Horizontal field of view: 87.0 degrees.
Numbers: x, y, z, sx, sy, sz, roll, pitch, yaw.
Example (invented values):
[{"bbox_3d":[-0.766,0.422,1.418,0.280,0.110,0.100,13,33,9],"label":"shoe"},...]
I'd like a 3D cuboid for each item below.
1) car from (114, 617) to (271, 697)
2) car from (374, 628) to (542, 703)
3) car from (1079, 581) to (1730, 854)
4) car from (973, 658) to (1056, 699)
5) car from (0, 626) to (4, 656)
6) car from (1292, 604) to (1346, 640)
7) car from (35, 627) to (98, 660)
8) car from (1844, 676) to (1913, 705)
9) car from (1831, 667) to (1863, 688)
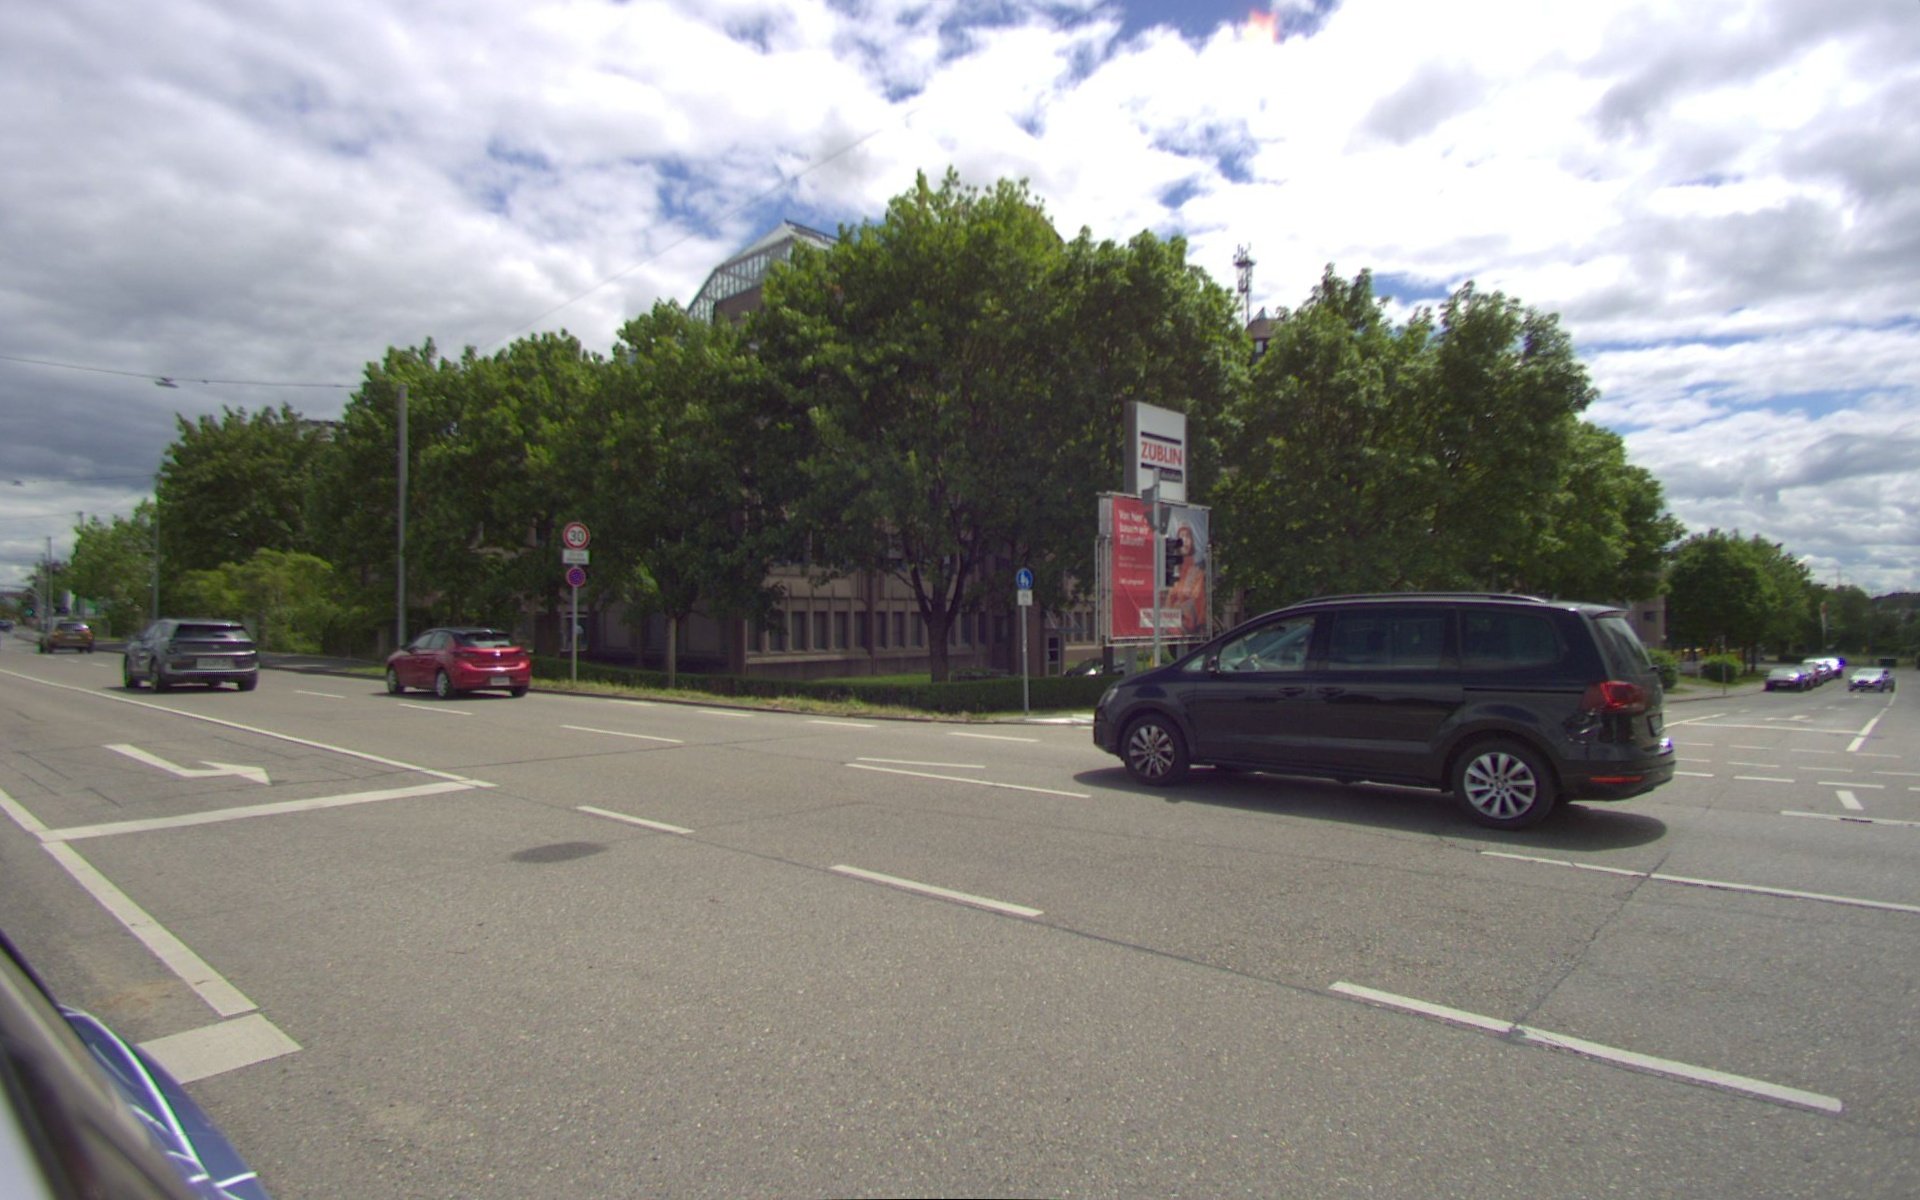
[{"bbox_3d":[-17.385,1.217,22.865,4.303,1.630,1.973,-1,-2,41],"label":"car"},{"bbox_3d":[-10.669,1.317,21.403,3.997,1.426,1.762,-1,-2,41],"label":"car"},{"bbox_3d":[3.533,0.786,8.730,4.761,1.715,1.971,-1,-2,43],"label":"car"},{"bbox_3d":[1.926,2.704,35.328,1.531,1.214,3.138,-1,-1,34],"label":"car"},{"bbox_3d":[-50.094,2.055,51.433,3.997,1.465,1.777,-1,-3,41],"label":"car"},{"bbox_3d":[23.239,1.368,65.419,1.999,2.259,3.945,-1,-1,41],"label":"car"},{"bbox_3d":[-45.374,2.163,51.376,3.998,1.609,1.873,-1,-2,41],"label":"car"},{"bbox_3d":[56.665,5.557,62.434,3.931,1.519,2.006,0,-1,-30],"label":"car"},{"bbox_3d":[75.881,6.619,86.573,1.999,1.519,3.944,-1,-1,42],"label":"car"}]
